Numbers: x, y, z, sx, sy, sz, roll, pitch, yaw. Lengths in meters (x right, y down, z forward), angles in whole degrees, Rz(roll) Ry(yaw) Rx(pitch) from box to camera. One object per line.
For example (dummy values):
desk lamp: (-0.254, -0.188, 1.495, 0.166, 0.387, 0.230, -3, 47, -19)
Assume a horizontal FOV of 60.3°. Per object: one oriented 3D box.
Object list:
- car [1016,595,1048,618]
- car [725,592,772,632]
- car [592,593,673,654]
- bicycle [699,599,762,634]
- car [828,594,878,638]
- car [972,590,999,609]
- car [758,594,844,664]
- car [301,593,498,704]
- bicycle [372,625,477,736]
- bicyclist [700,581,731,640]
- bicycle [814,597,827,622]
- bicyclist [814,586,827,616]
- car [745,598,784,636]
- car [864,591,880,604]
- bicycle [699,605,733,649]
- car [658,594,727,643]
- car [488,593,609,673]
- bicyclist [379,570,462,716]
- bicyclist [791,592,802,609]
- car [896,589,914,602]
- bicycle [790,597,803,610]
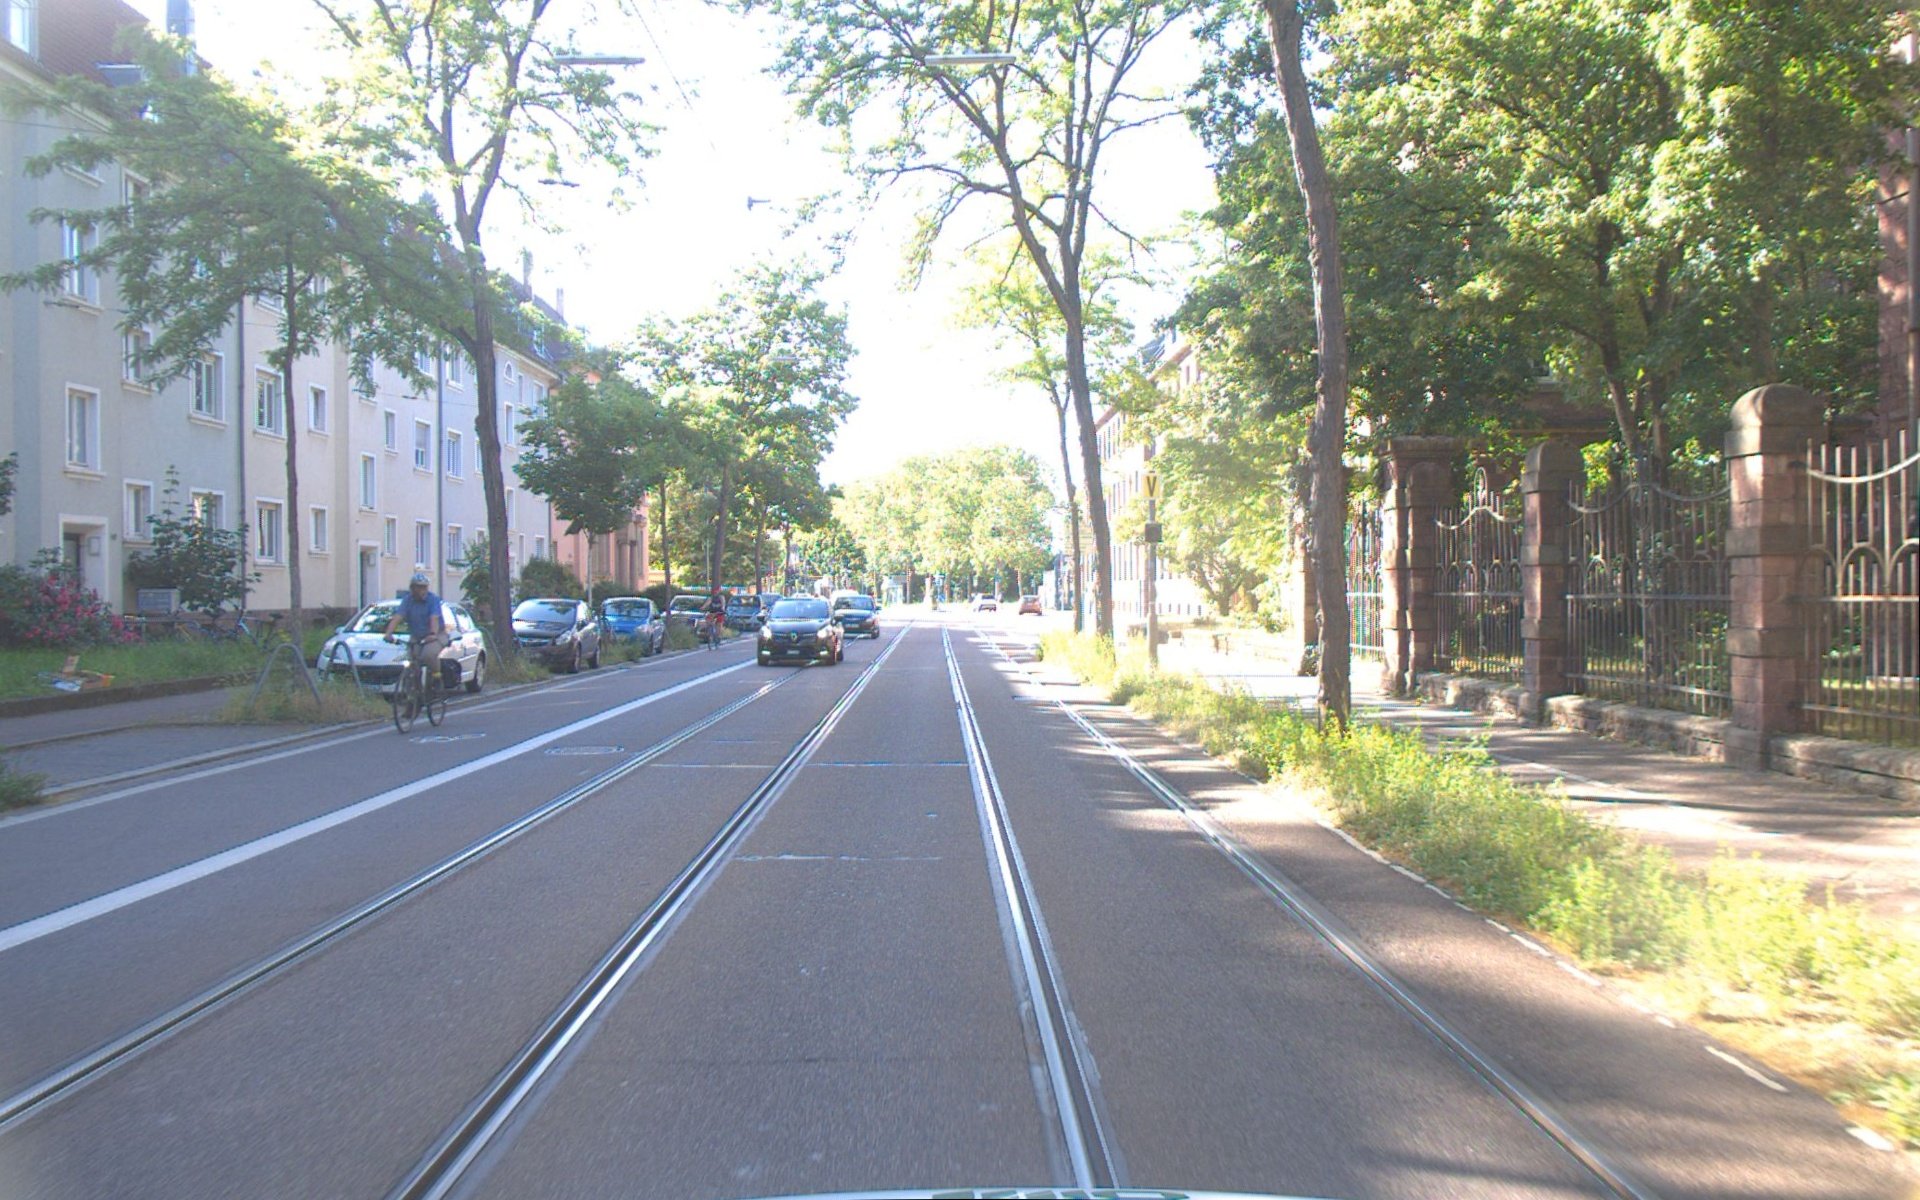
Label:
car: (5.544, 0.504, 126.894, 1.800, 1.684, 3.582, 0, 0, 14)
car: (-9.208, 0.502, 72.400, 1.711, 1.597, 4.067, 2, 0, -3)
car: (-8.717, 0.597, 44.276, 1.529, 1.482, 3.929, 2, 0, -3)
bicycle: (-8.722, 0.625, 62.846, 2.236, 1.219, 0.560, 2, 1, 6)
car: (-3.773, 0.528, 58.837, 1.665, 1.497, 4.070, 0, 0, -2)
car: (2.283, -0.071, 148.865, 1.905, 1.638, 3.995, 0, 0, -6)
car: (-3.478, 0.605, 36.765, 1.665, 1.464, 4.070, 0, 0, -2)
car: (-8.553, 0.679, 25.610, 1.668, 1.511, 4.078, 2, 0, -1)
bicycle: (-6.401, 0.929, 19.873, 0.614, 1.198, 1.913, -3, 0, -1)
bicyclist: (-7.051, 0.296, 47.690, 0.695, 1.635, 0.865, -3, 0, -1)
bicycle: (-7.065, 0.456, 83.868, 0.547, 1.219, 2.290, -4, 0, -4)
bicyclist: (-7.091, 0.025, 83.987, 0.547, 1.482, 0.869, -4, 0, -4)
car: (-9.486, 0.820, 80.630, 1.711, 1.689, 4.386, 2, 0, -5)
car: (-11.899, -0.355, 223.618, 1.905, 1.638, 3.995, 0, 0, -6)
bicycle: (-7.029, 0.760, 47.685, 0.680, 1.198, 1.913, -3, 0, -1)
car: (-9.007, 0.606, 55.932, 1.710, 1.516, 4.322, 2, 0, -2)
car: (-8.606, 0.650, 34.856, 1.653, 1.511, 3.758, 2, 0, -2)
bicyclist: (-6.419, 0.499, 19.727, 0.613, 1.667, 0.940, -3, 0, -1)
bicyclist: (-14.434, 0.065, 146.032, 0.737, 1.530, 0.960, 0, 0, -16)
car: (-6.960, -0.584, 208.223, 1.905, 1.638, 3.995, 0, 0, -6)
bicycle: (-14.441, 0.294, 146.075, 0.737, 1.106, 2.168, 0, 0, -16)
